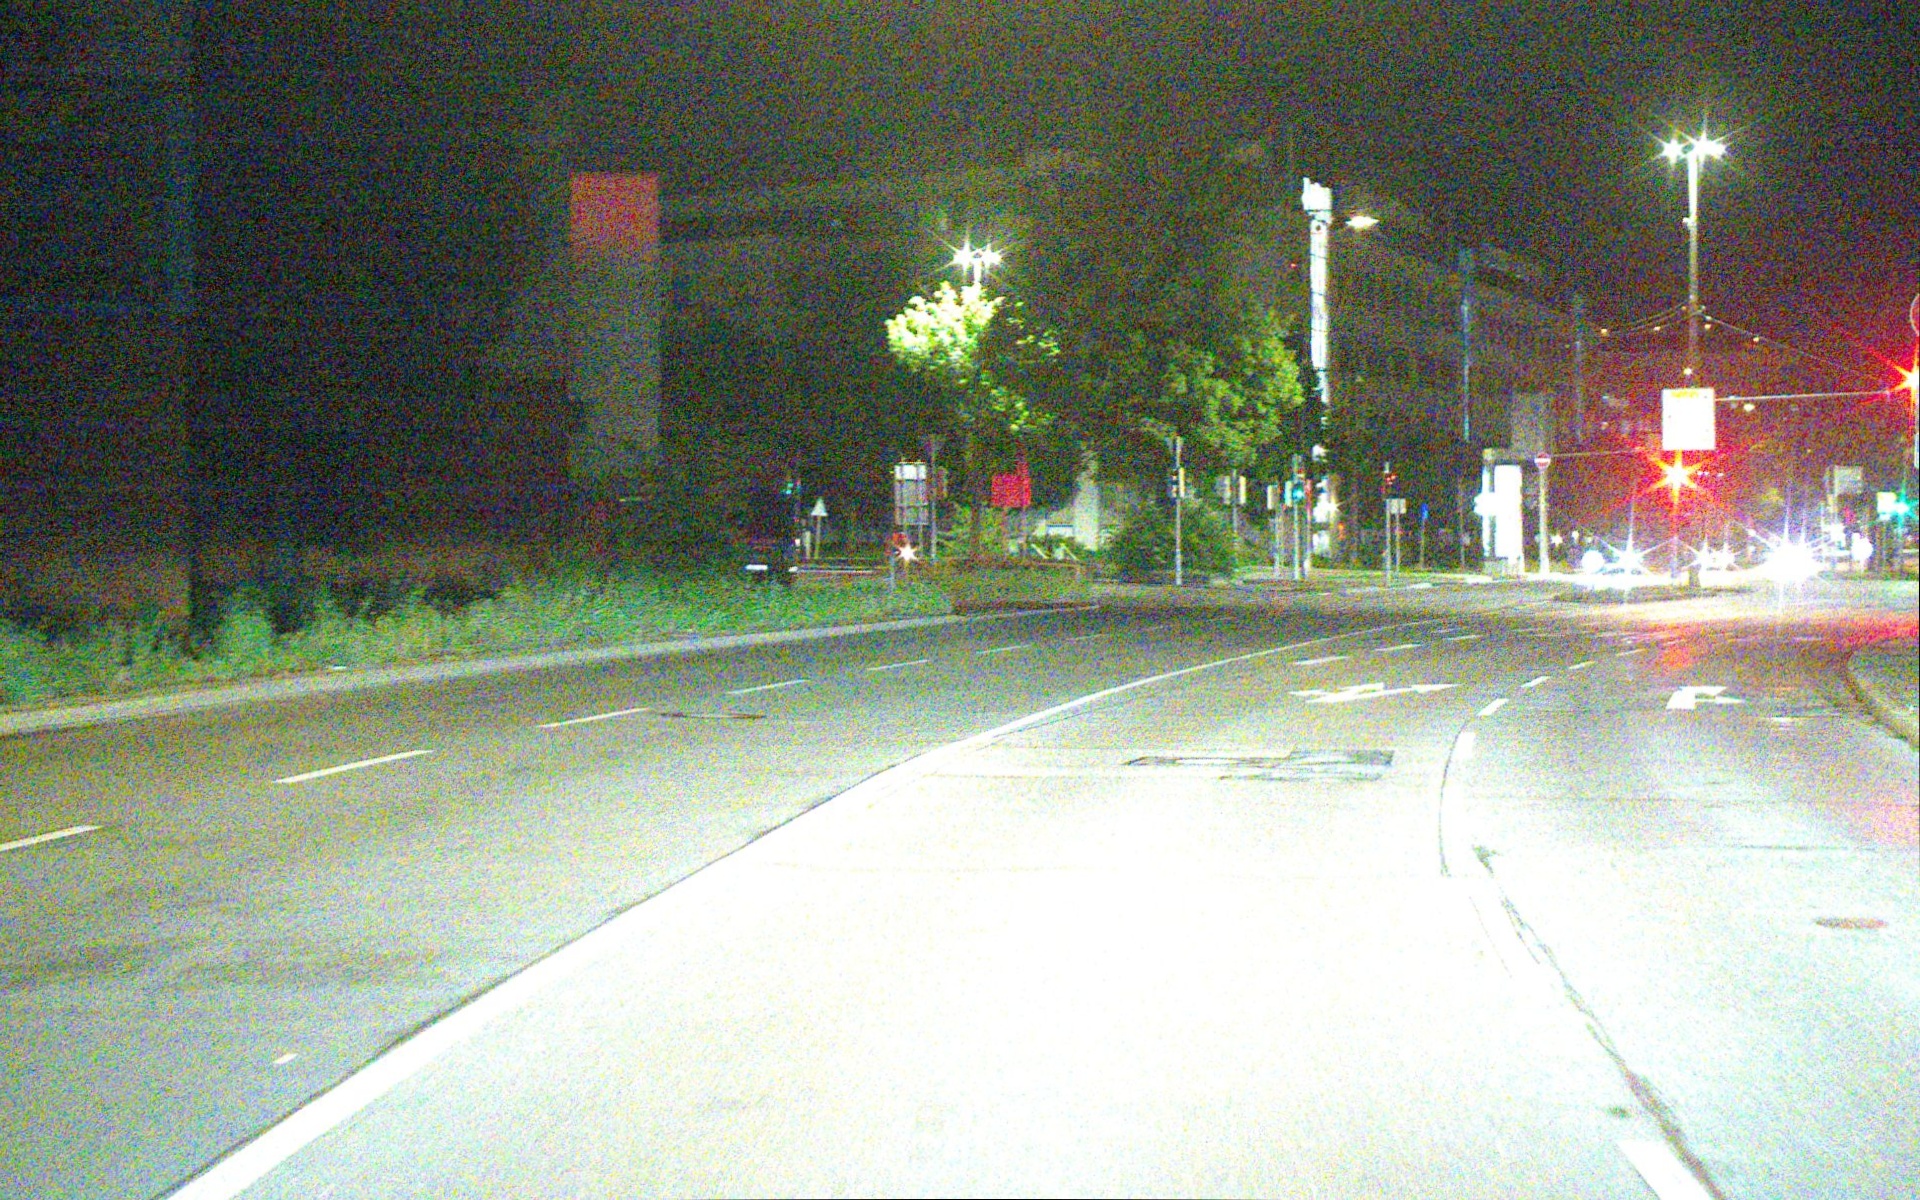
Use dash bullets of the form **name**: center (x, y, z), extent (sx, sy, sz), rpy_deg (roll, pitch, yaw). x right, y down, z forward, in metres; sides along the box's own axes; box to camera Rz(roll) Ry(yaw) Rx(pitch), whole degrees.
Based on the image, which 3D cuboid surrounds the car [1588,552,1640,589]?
- **car**: center (27.325, -1.234, 143.530), extent (1.617, 1.509, 3.996), rpy_deg (1, 1, 18)

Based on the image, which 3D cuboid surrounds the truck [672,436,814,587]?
- **truck**: center (-5.911, -2.311, 92.102), extent (2.937, 3.783, 9.560), rpy_deg (1, 1, -8)

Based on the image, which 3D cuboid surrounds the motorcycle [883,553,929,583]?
- **motorcycle**: center (-1.671, -0.991, 105.353), extent (0.578, 0.893, 2.156), rpy_deg (-2, 2, -24)

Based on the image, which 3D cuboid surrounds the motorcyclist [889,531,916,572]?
- **motorcyclist**: center (-1.762, -1.489, 105.027), extent (0.646, 1.257, 0.579), rpy_deg (0, 1, -25)
